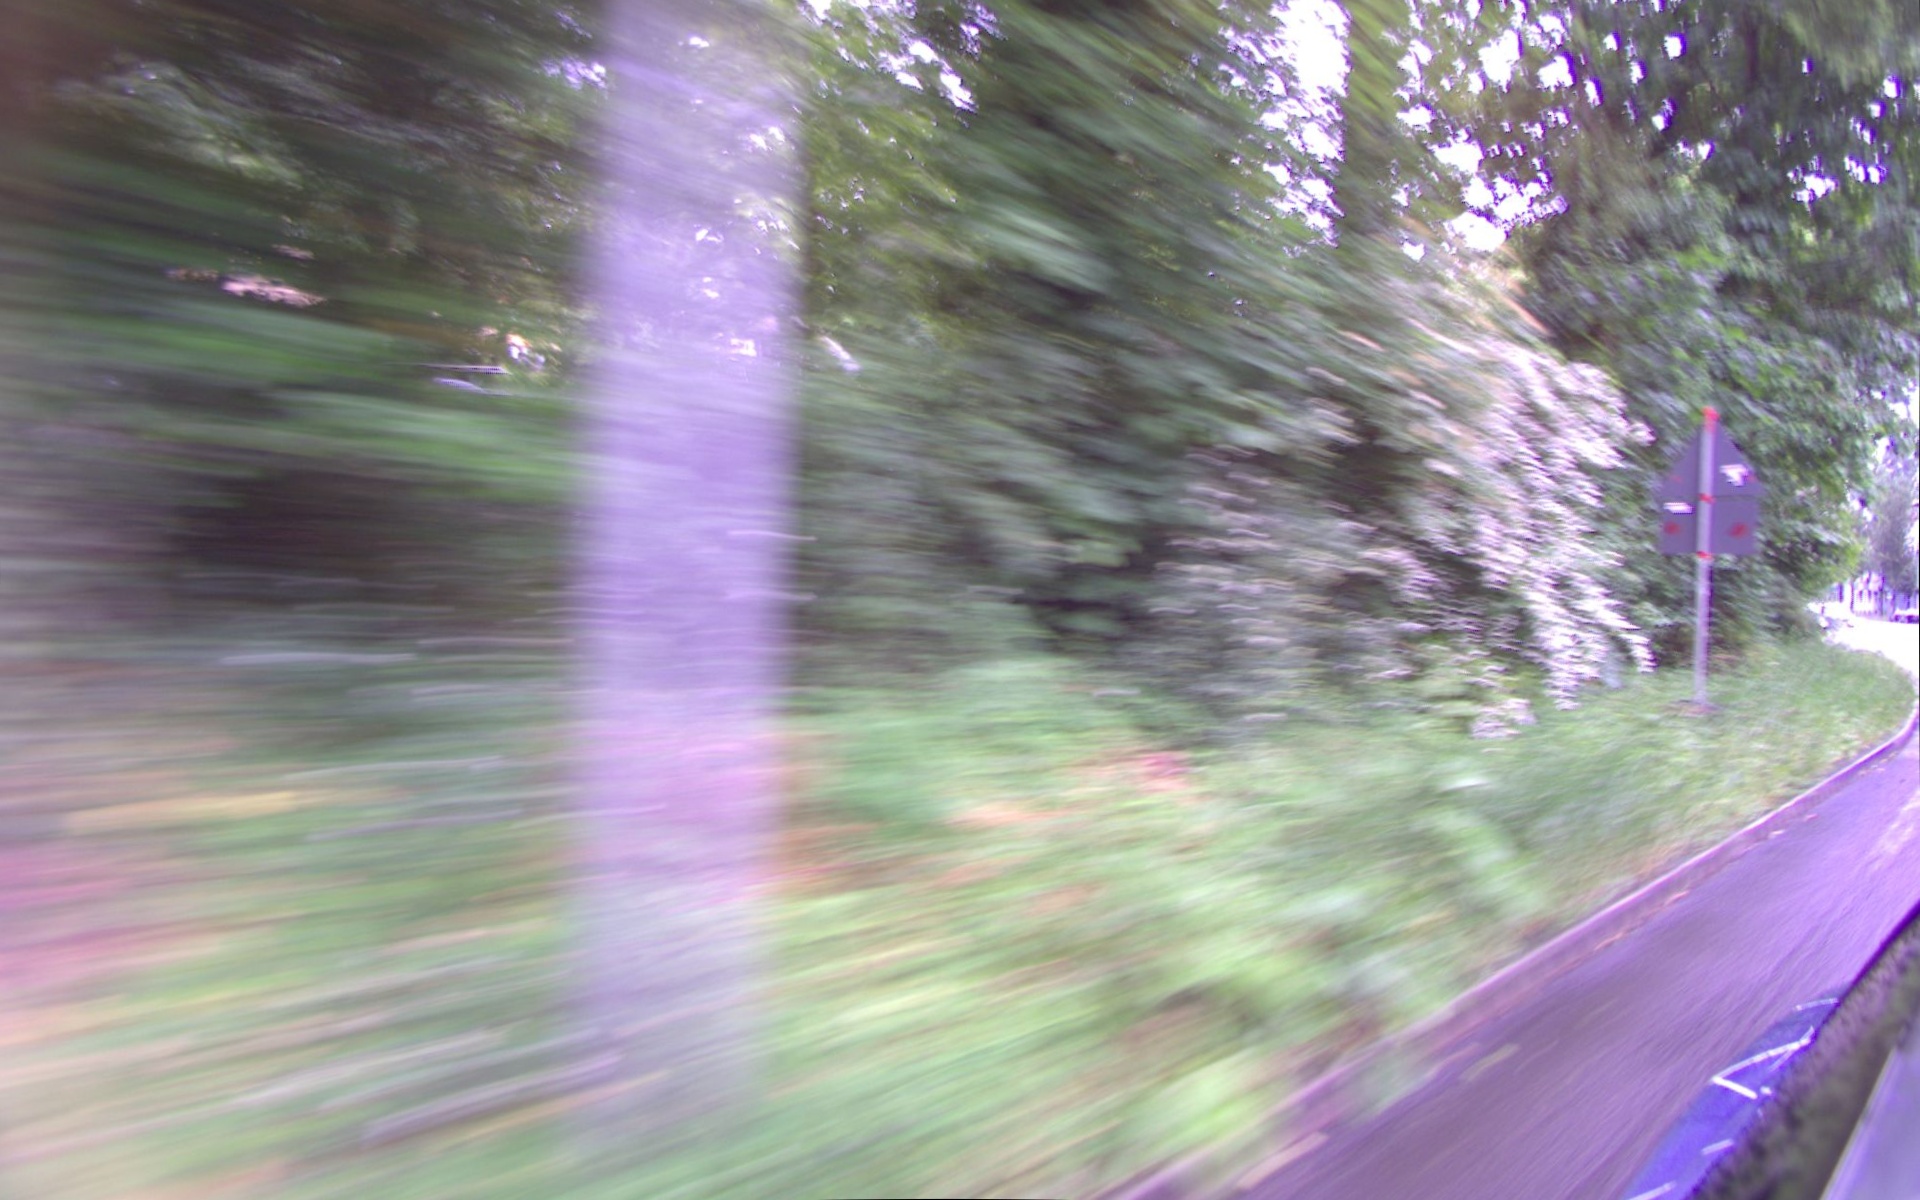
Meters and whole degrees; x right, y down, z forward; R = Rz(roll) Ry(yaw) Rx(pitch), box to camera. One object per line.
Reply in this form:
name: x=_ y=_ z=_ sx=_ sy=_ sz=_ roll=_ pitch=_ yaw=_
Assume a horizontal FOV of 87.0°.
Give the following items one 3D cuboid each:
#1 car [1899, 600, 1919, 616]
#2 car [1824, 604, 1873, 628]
car: x=97.795 y=0.798 z=103.670 sx=1.858 sy=1.620 sz=4.119 roll=2 pitch=1 yaw=36
car: x=61.810 y=1.079 z=70.461 sx=1.986 sy=1.482 sz=3.953 roll=2 pitch=1 yaw=33
